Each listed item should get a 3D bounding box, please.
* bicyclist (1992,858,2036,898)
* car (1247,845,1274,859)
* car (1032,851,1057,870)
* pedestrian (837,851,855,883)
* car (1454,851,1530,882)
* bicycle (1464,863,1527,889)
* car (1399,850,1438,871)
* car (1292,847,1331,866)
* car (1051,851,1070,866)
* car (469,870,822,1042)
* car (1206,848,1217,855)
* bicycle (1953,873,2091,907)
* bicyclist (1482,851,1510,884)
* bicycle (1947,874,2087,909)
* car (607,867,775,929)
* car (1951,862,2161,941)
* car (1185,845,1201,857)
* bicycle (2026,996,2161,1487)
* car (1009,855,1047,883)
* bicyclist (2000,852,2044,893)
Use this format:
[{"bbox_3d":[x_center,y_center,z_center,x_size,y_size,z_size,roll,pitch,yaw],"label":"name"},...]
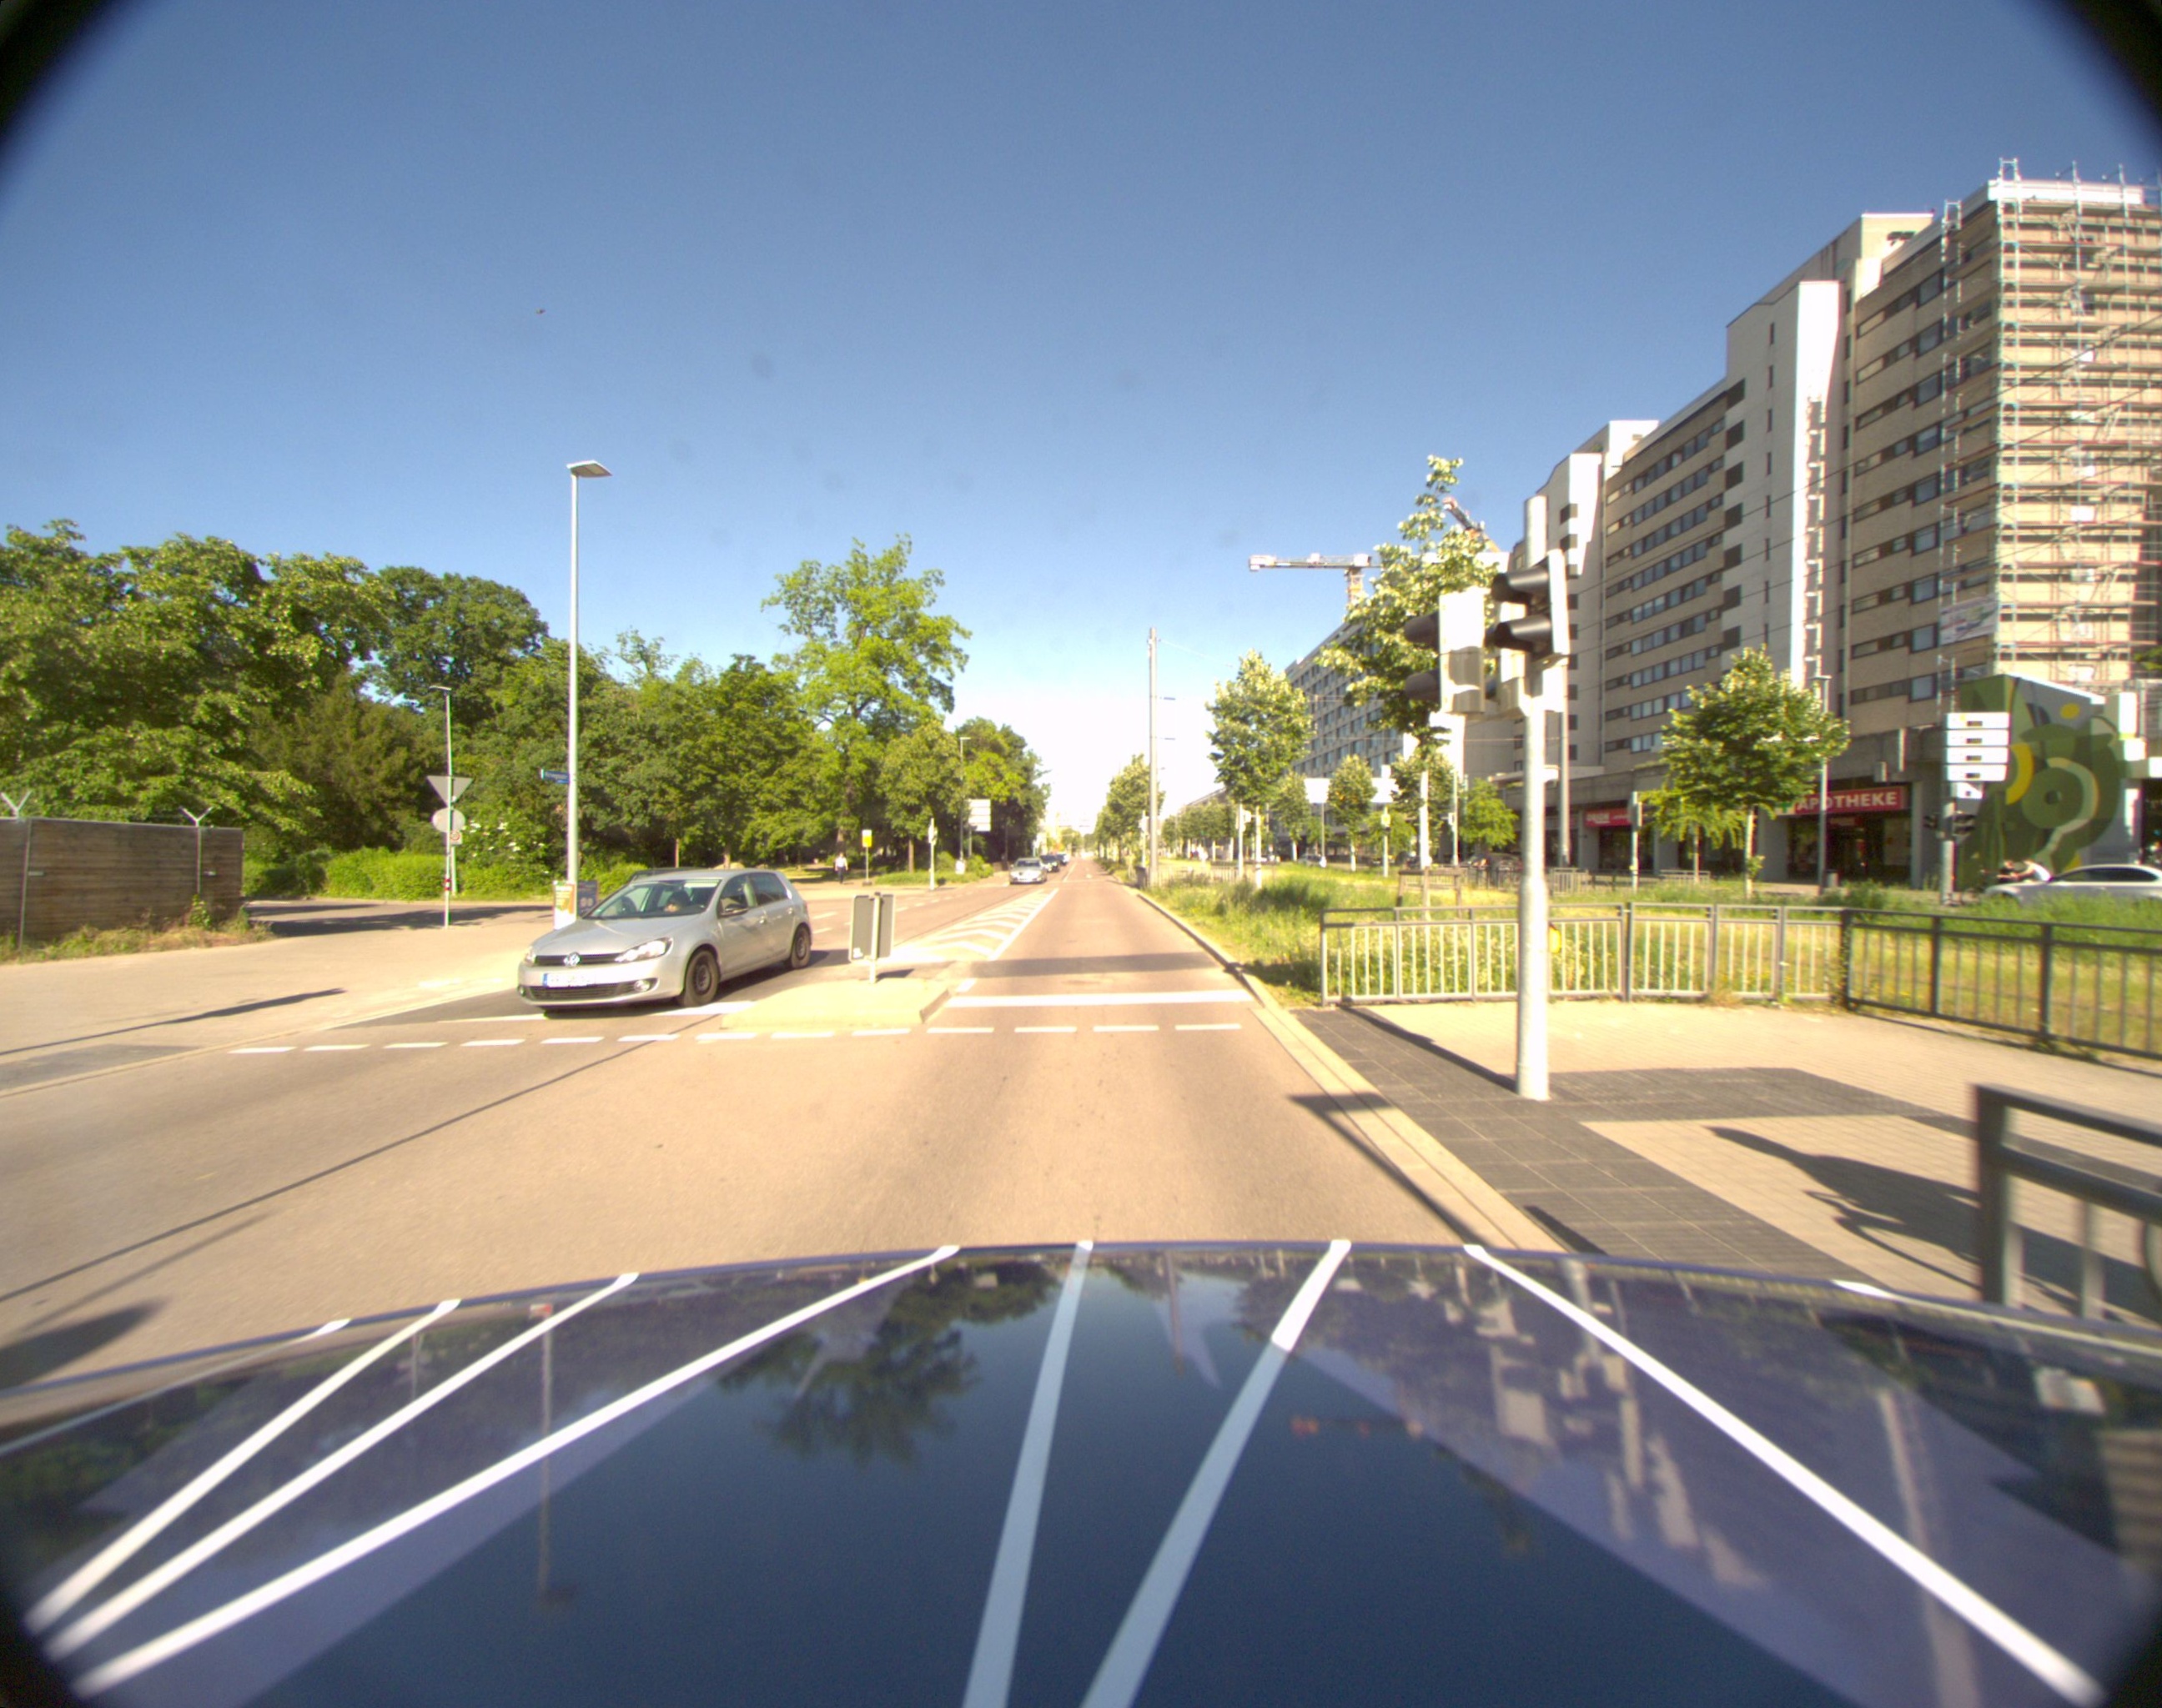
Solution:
[{"bbox_3d":[29.417,0.736,23.963,0.581,1.218,0.766,-2,1,-29],"label":"bicyclist"},{"bbox_3d":[21.343,-0.298,90.573,1.999,1.569,4.506,-1,1,-1],"label":"car"},{"bbox_3d":[-3.020,0.487,63.135,1.999,1.493,3.998,0,1,-2],"label":"car"},{"bbox_3d":[-12.836,0.714,41.468,0.739,1.693,0.873,-2,1,-29],"label":"pedestrian"},{"bbox_3d":[23.579,0.668,43.779,1.999,1.569,4.105,2,1,-1],"label":"car"},{"bbox_3d":[15.751,0.813,28.910,0.563,0.946,2.011,-2,1,-44],"label":"bicycle"},{"bbox_3d":[29.391,0.580,66.129,1.791,1.674,4.008,0,1,44],"label":"car"},{"bbox_3d":[20.876,0.219,69.021,1.999,1.569,4.506,-1,1,-1],"label":"car"},{"bbox_3d":[-2.418,0.543,90.480,1.998,1.718,3.999,-1,1,0],"label":"car"},{"bbox_3d":[-4.795,1.014,9.161,1.702,1.466,4.001,-1,1,4],"label":"car"},{"bbox_3d":[30.590,-0.592,177.846,1.827,1.499,3.812,-1,1,0],"label":"car"},{"bbox_3d":[29.480,1.101,23.878,0.563,0.946,2.668,-2,1,-28],"label":"bicycle"},{"bbox_3d":[15.763,0.496,28.883,0.581,1.218,0.765,-2,2,-42],"label":"bicyclist"},{"bbox_3d":[28.847,1.120,23.497,0.563,0.946,2.668,-2,1,-28],"label":"bicycle"},{"bbox_3d":[-10.020,1.089,19.585,3.703,1.428,1.775,-1,1,20],"label":"car"},{"bbox_3d":[24.232,1.058,18.013,1.999,1.569,4.506,-1,1,-1],"label":"car"},{"bbox_3d":[17.940,-0.463,122.197,1.998,1.809,4.285,-1,1,1],"label":"car"},{"bbox_3d":[3.315,0.992,1.259,0.736,1.085,2.078,-2,1,-26],"label":"bicycle"},{"bbox_3d":[-2.893,0.810,42.484,1.839,1.416,3.999,-1,1,0],"label":"car"},{"bbox_3d":[28.912,0.566,23.353,0.581,1.218,0.766,-2,1,-29],"label":"bicyclist"}]
